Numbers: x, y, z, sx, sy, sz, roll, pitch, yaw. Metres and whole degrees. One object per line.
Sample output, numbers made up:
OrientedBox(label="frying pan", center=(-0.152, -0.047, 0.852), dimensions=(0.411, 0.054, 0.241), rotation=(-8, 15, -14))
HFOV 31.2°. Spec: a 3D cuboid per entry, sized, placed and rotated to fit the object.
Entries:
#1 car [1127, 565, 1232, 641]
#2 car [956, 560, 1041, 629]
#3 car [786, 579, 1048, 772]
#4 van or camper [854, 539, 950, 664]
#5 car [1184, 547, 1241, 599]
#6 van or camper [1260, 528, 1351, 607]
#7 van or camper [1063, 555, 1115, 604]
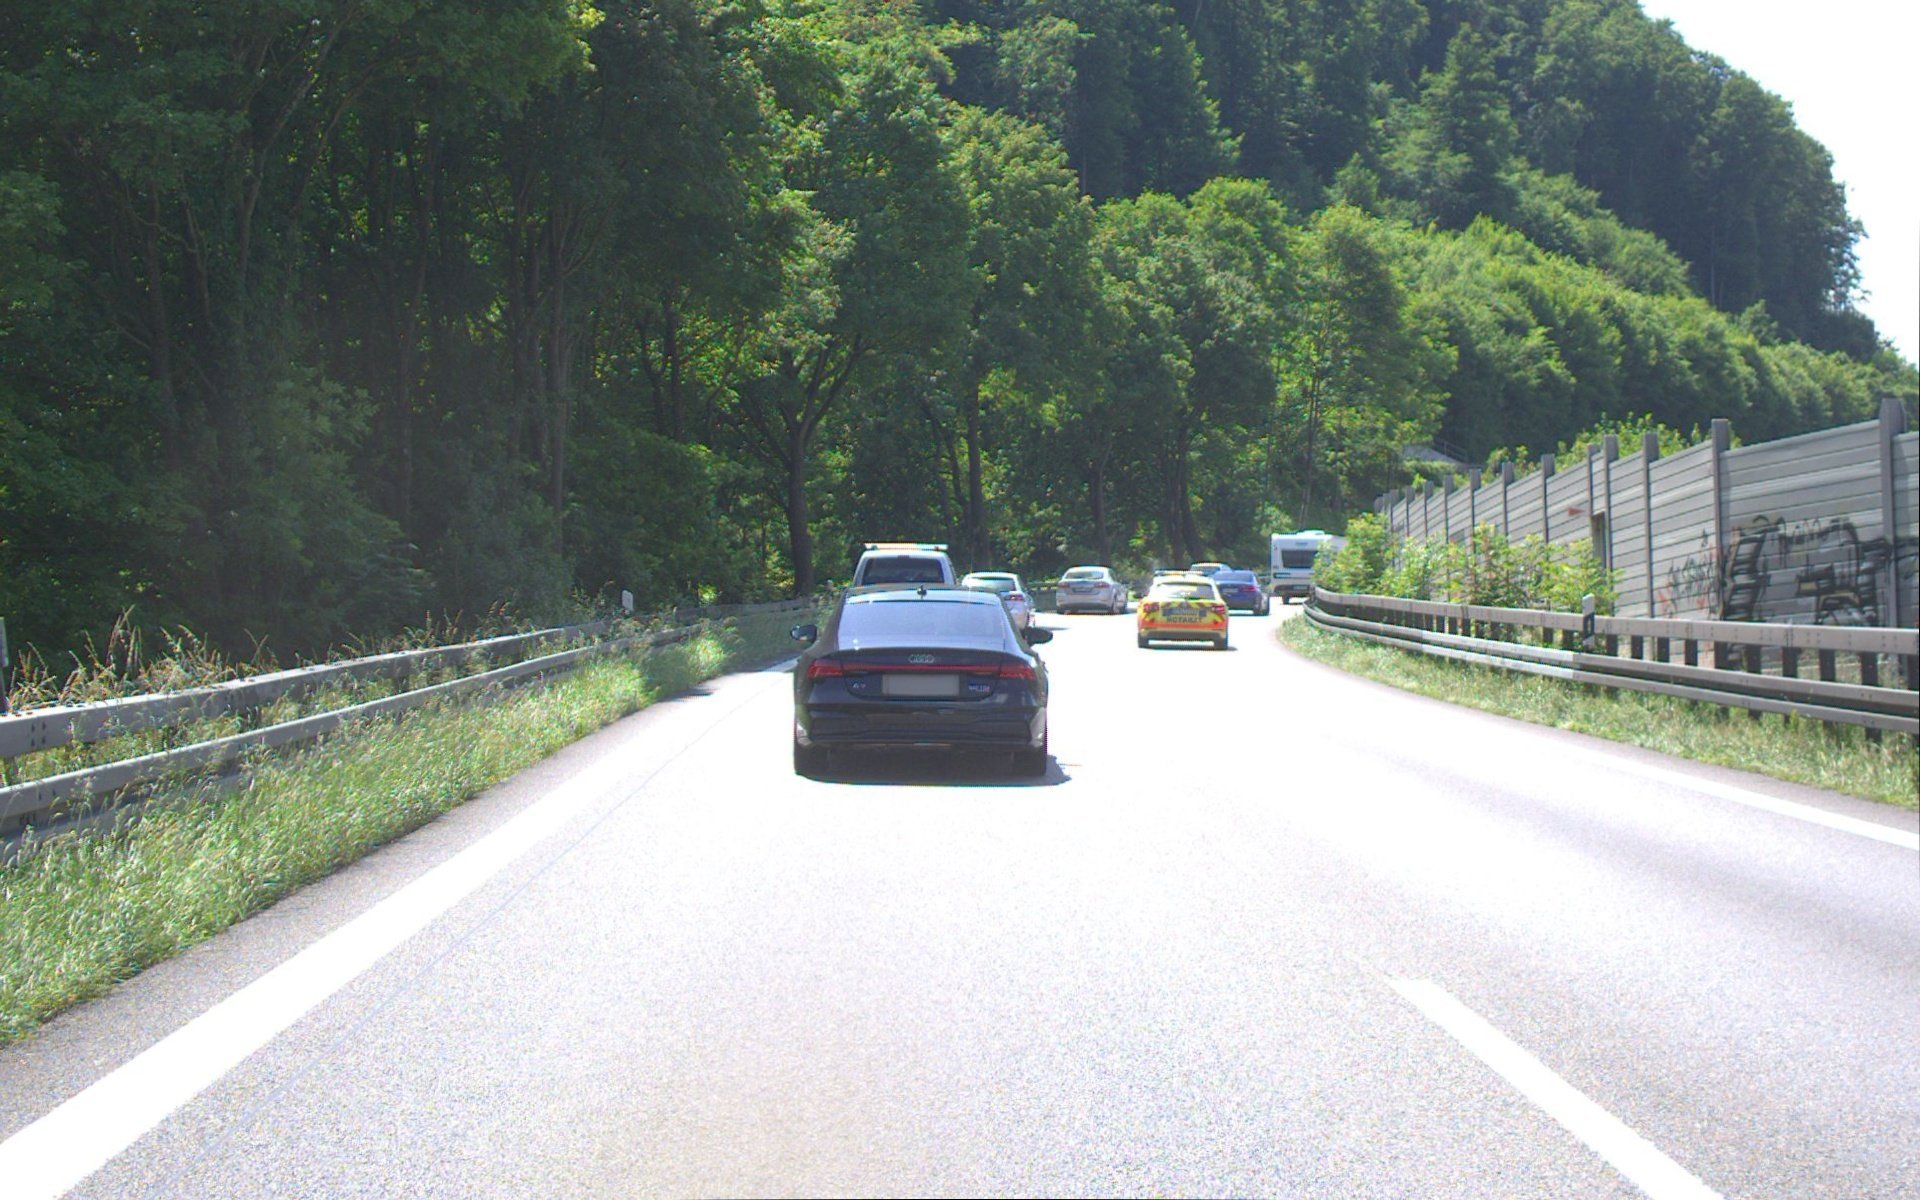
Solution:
OrientedBox(label="car", center=(4.409, 0.048, 69.484), dimensions=(1.863, 1.483, 4.000), rotation=(0, 0, 0))
OrientedBox(label="car", center=(0.806, -0.115, 74.094), dimensions=(1.747, 1.426, 4.000), rotation=(0, 0, -1))
OrientedBox(label="car", center=(-0.342, 0.536, 26.378), dimensions=(1.837, 1.345, 4.000), rotation=(-1, 0, -1))
OrientedBox(label="van or camper", center=(-0.884, 0.015, 52.007), dimensions=(1.391, 1.809, 4.000), rotation=(0, 0, -1))
OrientedBox(label="car", center=(8.059, -0.849, 109.764), dimensions=(1.773, 1.631, 3.999), rotation=(0, 0, 4))
OrientedBox(label="van or camper", center=(13.169, -1.208, 130.793), dimensions=(2.457, 2.908, 6.121), rotation=(0, 0, 15))
OrientedBox(label="van or camper", center=(4.079, -0.641, 108.110), dimensions=(1.558, 1.529, 3.505), rotation=(0, 0, 3))
